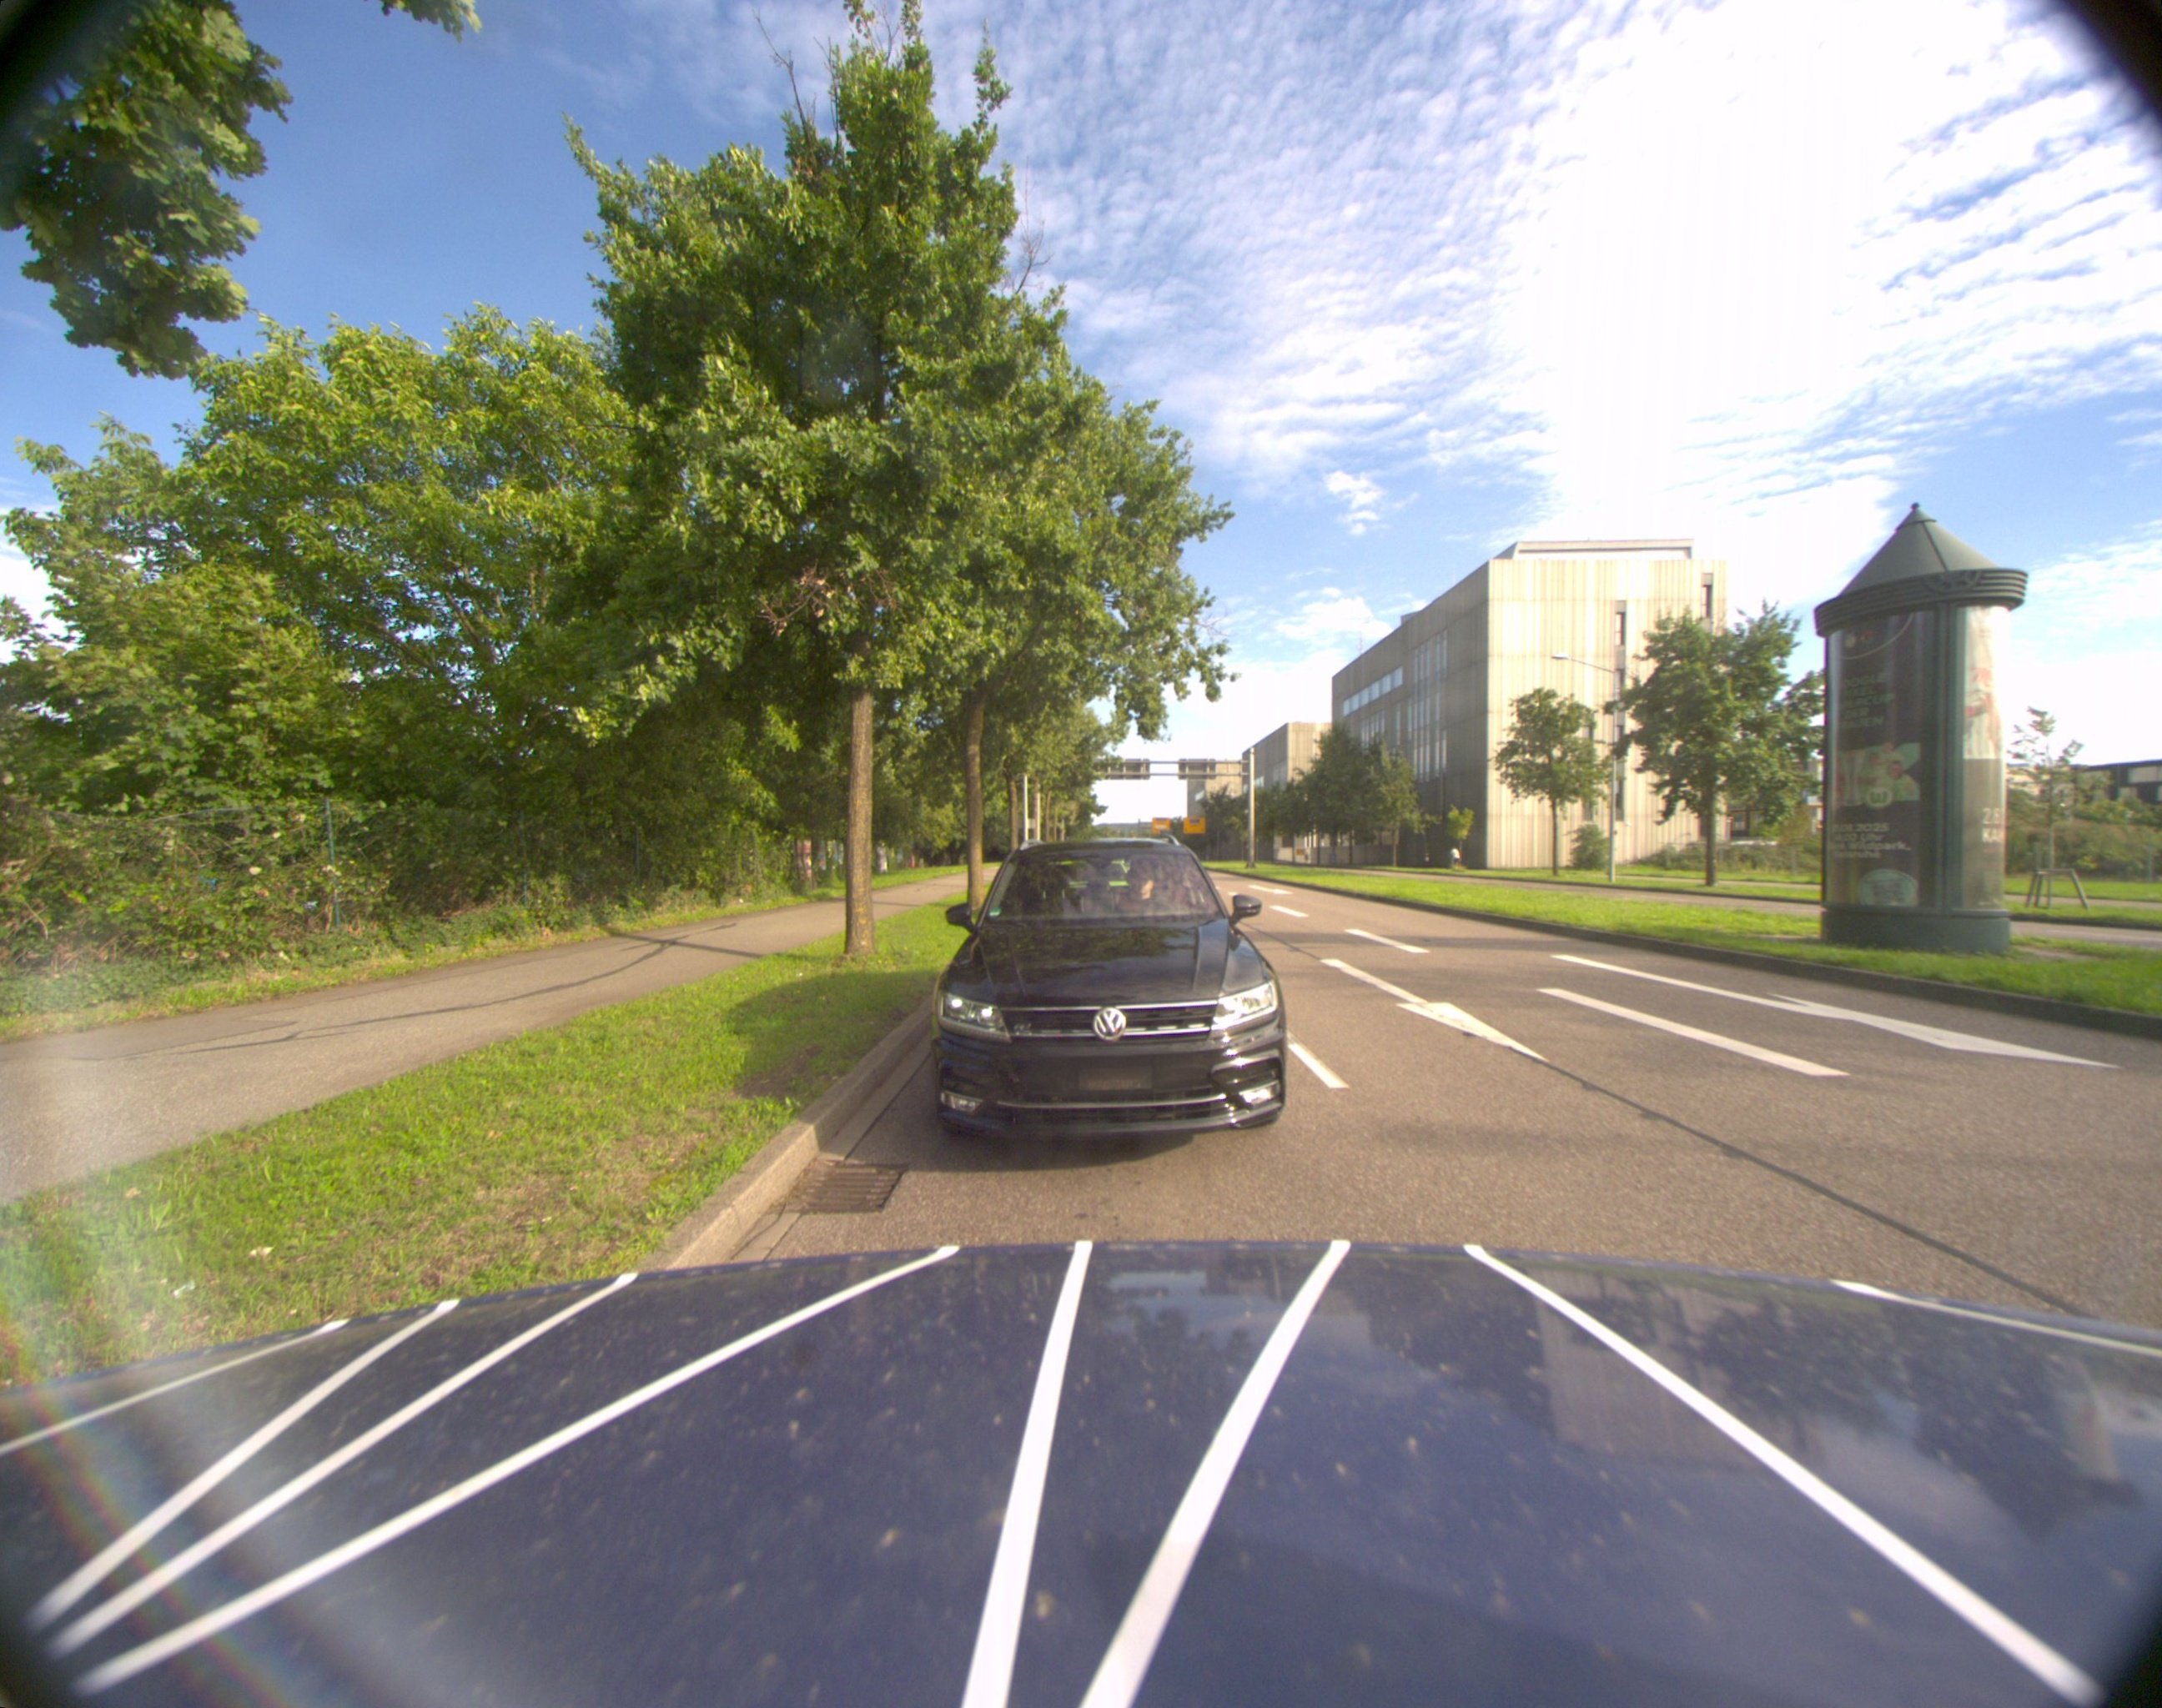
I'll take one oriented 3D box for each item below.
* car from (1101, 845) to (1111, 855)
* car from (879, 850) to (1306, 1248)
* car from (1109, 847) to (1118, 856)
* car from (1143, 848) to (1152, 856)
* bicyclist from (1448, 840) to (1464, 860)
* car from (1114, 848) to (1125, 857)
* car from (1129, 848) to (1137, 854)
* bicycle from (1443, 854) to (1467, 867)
[{"bbox_3d":[4.699,-0.744,143.906,1.758,1.696,4.000,-1,0,0],"label":"car"},{"bbox_3d":[0.105,0.834,5.178,1.775,1.637,3.868,-2,1,2],"label":"car"},{"bbox_3d":[7.789,-0.626,184.093,1.998,2.002,4.000,0,0,0],"label":"car"},{"bbox_3d":[17.684,-0.471,202.308,1.998,2.002,4.000,0,0,0],"label":"car"},{"bbox_3d":[28.420,-0.304,57.618,0.707,1.517,0.989,0,1,1],"label":"bicyclist"},{"bbox_3d":[6.398,-0.316,125.387,1.745,1.455,4.000,-1,1,3],"label":"car"},{"bbox_3d":[16.084,-0.932,234.888,1.998,2.002,3.983,0,0,0],"label":"car"},{"bbox_3d":[28.416,0.495,57.704,0.897,0.975,1.911,0,0,1],"label":"bicycle"}]
